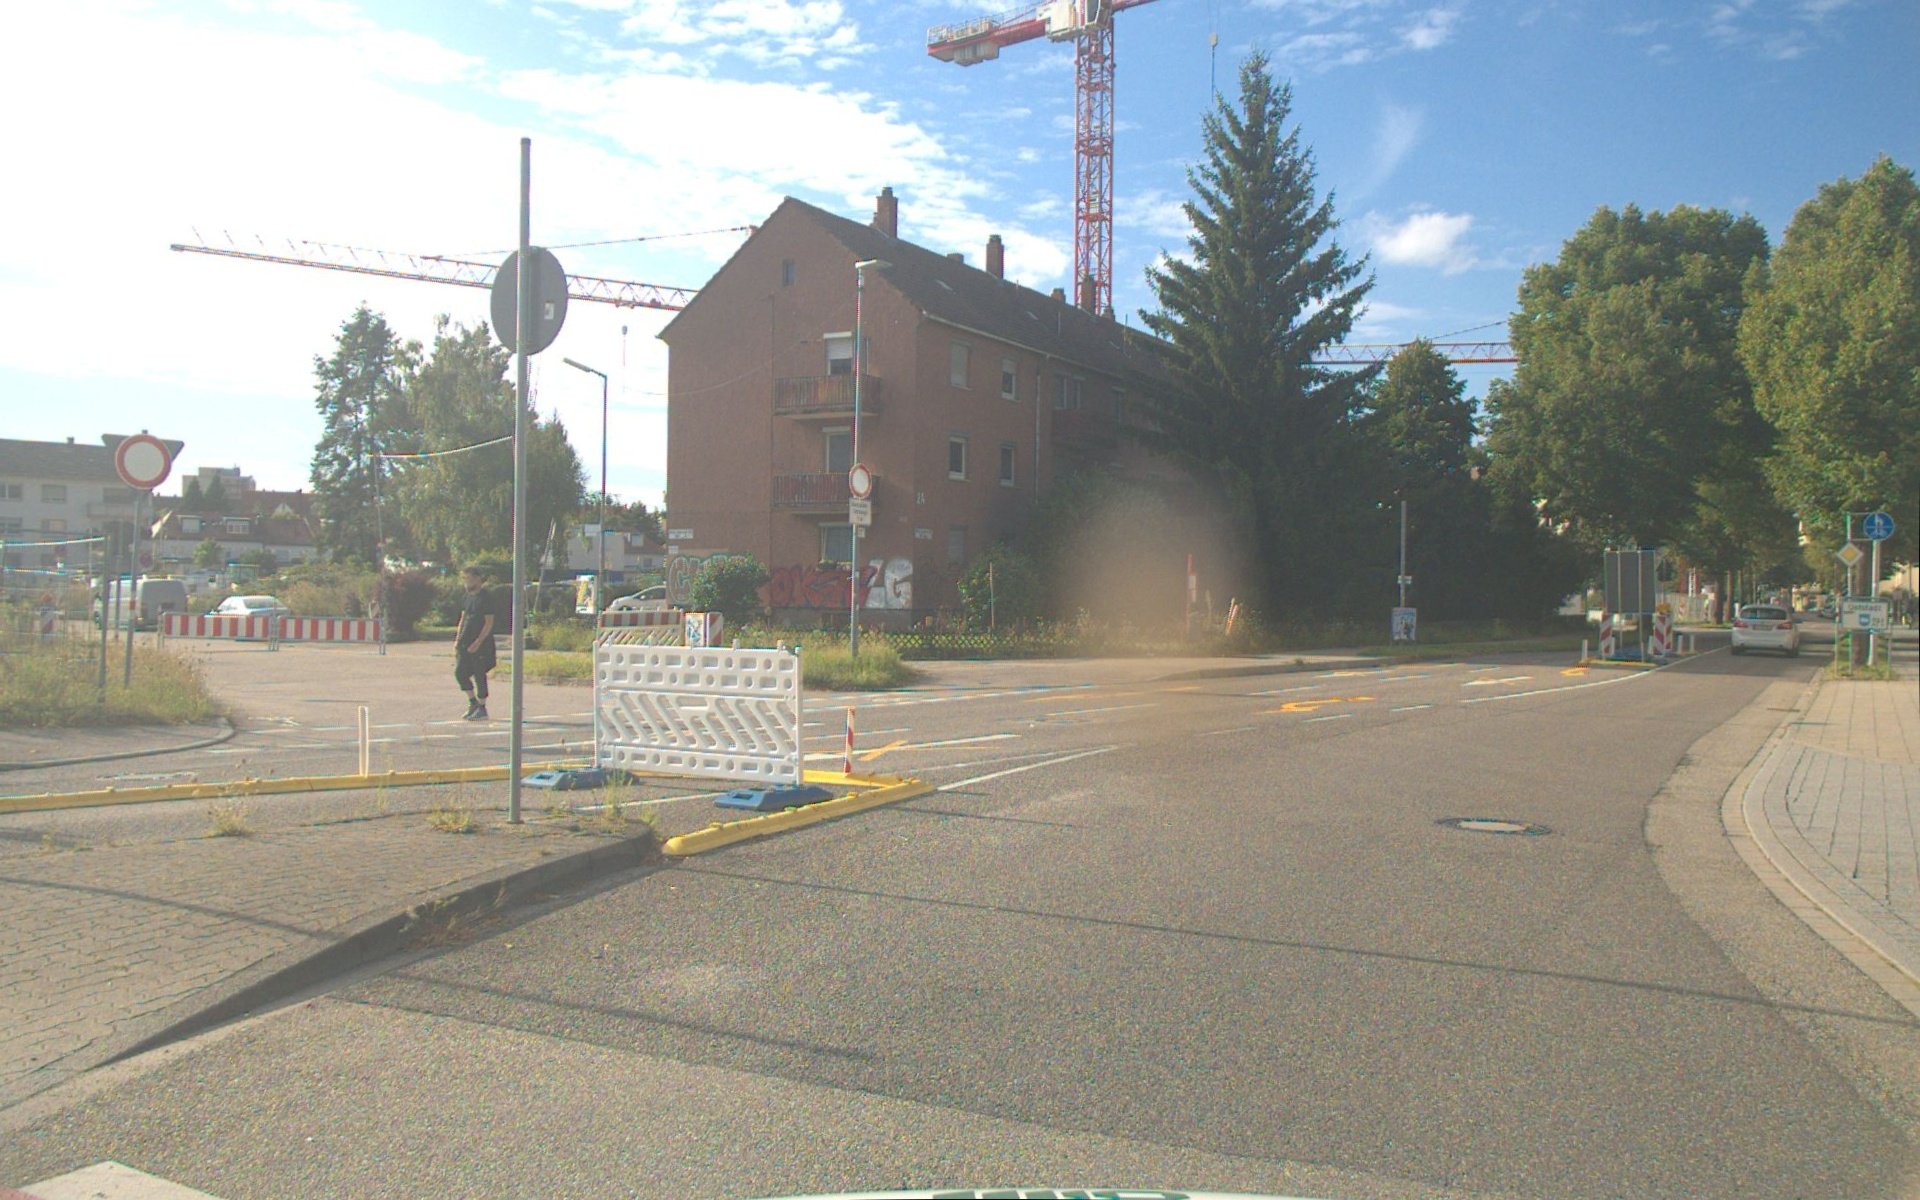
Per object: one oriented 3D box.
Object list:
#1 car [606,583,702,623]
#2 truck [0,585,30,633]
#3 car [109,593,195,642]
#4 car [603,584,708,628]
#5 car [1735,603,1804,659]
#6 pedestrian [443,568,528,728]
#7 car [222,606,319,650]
[{"bbox_3d":[-13.193,0.146,71.228,3.921,1.646,1.766,1,0,-16],"label":"car"},{"bbox_3d":[-46.422,0.396,79.148,1.966,2.209,5.316,1,0,-45],"label":"truck"},{"bbox_3d":[-31.561,0.677,64.574,1.872,1.847,3.934,1,0,-45],"label":"car"},{"bbox_3d":[-12.026,0.236,65.584,3.909,1.646,1.771,1,0,-5],"label":"car"},{"bbox_3d":[25.252,0.945,51.609,1.814,1.600,4.450,2,0,26],"label":"car"},{"bbox_3d":[-5.818,0.576,20.316,0.653,1.903,0.836,1,0,12],"label":"pedestrian"},{"bbox_3d":[-23.699,0.949,56.780,1.709,1.417,3.934,1,0,-45],"label":"car"}]
